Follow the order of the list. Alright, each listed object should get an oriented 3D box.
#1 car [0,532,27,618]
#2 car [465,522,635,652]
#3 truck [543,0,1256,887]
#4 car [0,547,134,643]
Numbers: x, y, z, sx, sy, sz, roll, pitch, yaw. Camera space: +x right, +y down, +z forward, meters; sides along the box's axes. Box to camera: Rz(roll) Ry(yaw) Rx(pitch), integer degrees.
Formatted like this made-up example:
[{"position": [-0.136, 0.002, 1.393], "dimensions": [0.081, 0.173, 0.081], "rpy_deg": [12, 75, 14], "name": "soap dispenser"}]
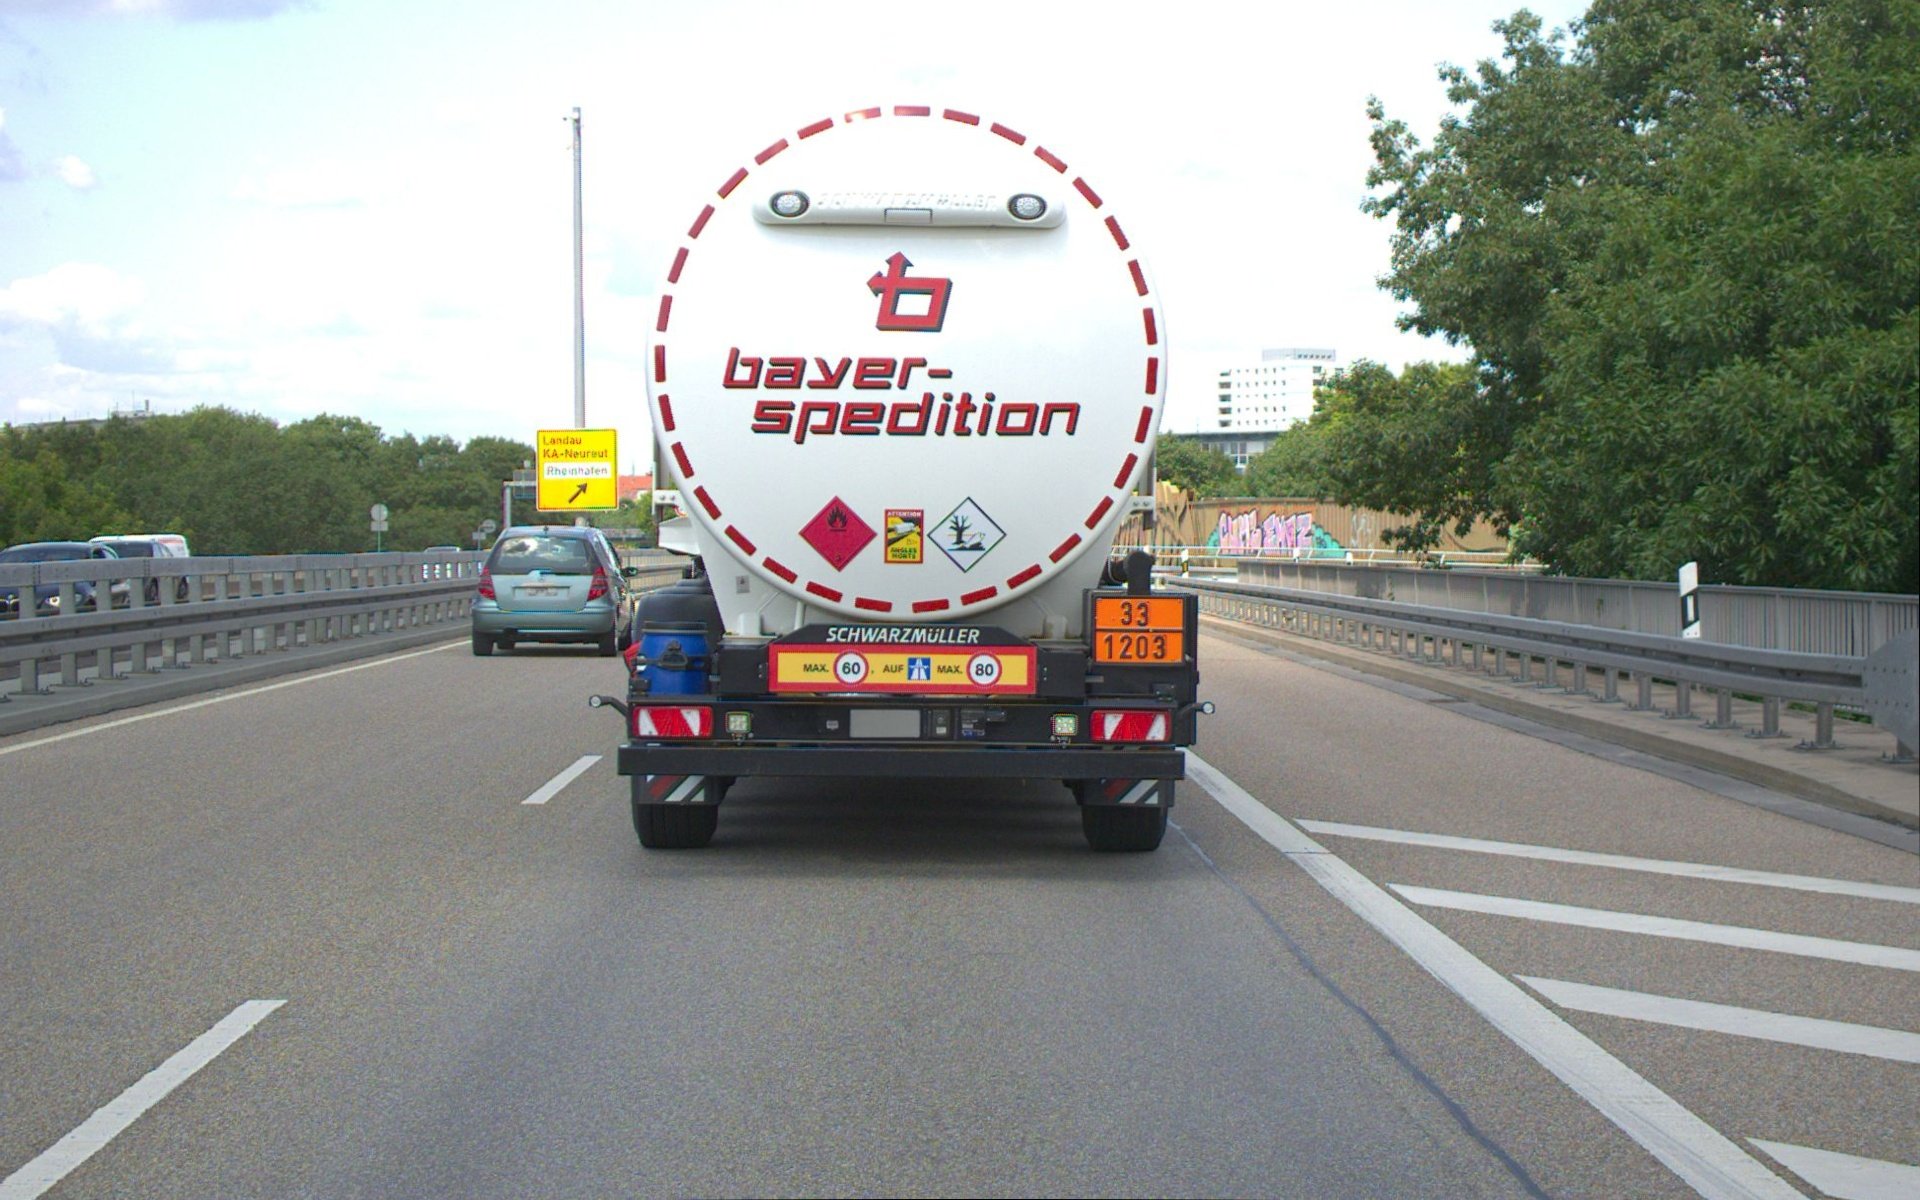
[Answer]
[{"position": [-19.207, -0.486, 65.417], "dimensions": [1.890, 1.634, 4.513], "rpy_deg": [1, 1, -3], "name": "car"}, {"position": [-5.062, -0.200, 42.882], "dimensions": [1.747, 1.526, 4.001], "rpy_deg": [0, 1, -2], "name": "car"}, {"position": [-0.371, -1.078, 18.366], "dimensions": [2.895, 4.353, 8.030], "rpy_deg": [1, 1, -2], "name": "truck"}, {"position": [-12.367, -0.096, 46.149], "dimensions": [1.681, 1.181, 4.000], "rpy_deg": [1, 1, -2], "name": "car"}]
